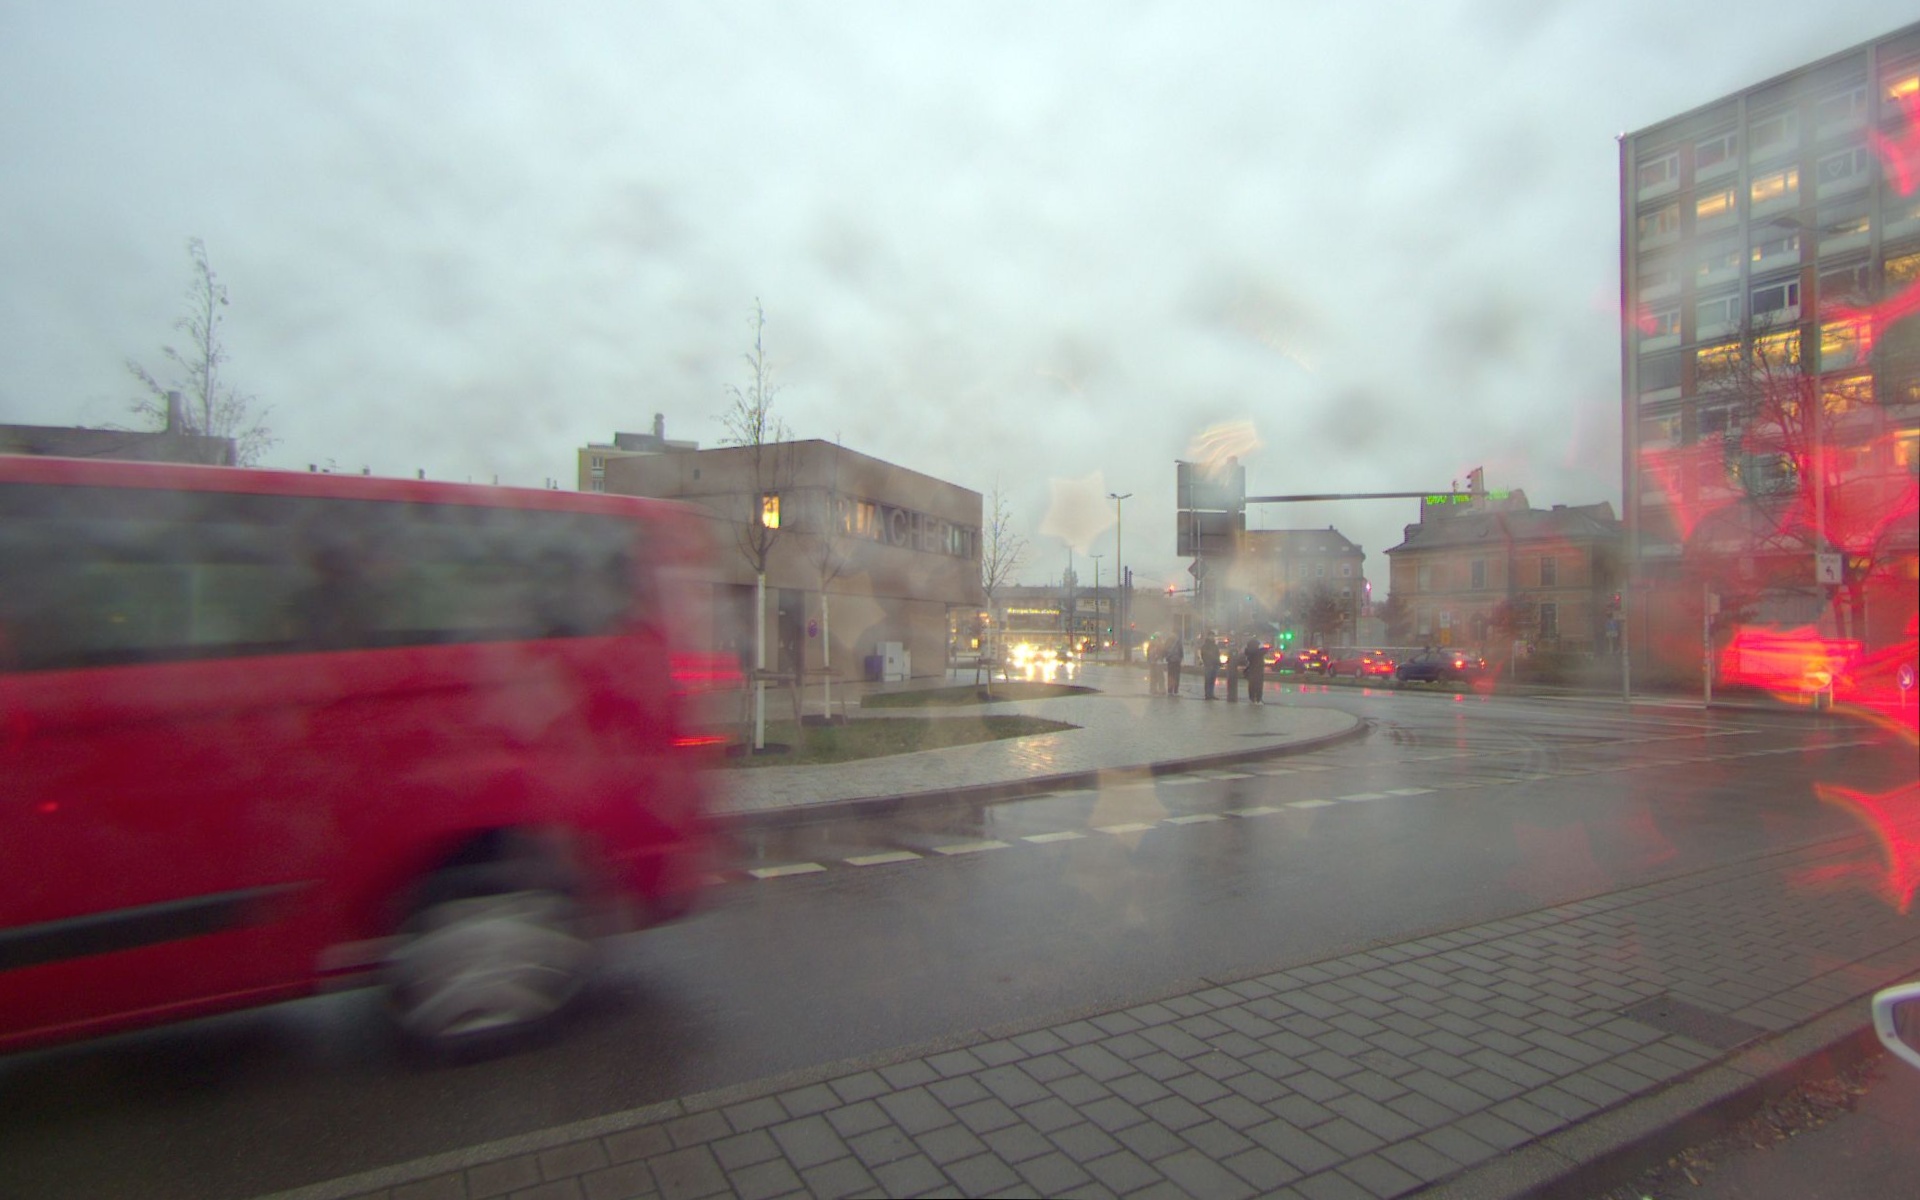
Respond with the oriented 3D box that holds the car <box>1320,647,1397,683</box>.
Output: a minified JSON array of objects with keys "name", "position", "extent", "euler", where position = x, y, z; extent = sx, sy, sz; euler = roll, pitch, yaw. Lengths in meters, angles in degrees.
[{"name":"car","position":[20.494,3.308,51.821],"extent":[1.795,1.589,3.991],"euler":[2,0,-11]}]

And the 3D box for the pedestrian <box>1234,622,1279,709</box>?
[{"name":"pedestrian","position":[7.198,1.578,24.387],"extent":[0.971,2.047,0.802],"euler":[-1,-2,19]}]

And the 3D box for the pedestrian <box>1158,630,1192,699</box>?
[{"name":"pedestrian","position":[5.919,1.760,27.644],"extent":[0.722,1.863,0.675],"euler":[-2,-2,30]}]

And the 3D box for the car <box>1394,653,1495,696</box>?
[{"name":"car","position":[21.569,3.306,44.883],"extent":[1.798,1.589,3.984],"euler":[2,0,-18]}]

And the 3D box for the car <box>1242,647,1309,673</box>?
[{"name":"car","position":[20.087,3.802,63.982],"extent":[3.741,1.502,1.602],"euler":[2,0,-1]}]

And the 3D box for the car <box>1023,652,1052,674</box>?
[{"name":"car","position":[5.702,4.619,74.086],"extent":[1.711,1.467,3.713],"euler":[-1,-2,-2]}]

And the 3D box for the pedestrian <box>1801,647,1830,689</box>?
[{"name":"pedestrian","position":[35.250,2.778,41.403],"extent":[0.626,1.710,0.640],"euler":[0,-2,-13]}]

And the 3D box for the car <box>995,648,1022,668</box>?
[{"name":"car","position":[4.207,5.021,87.343],"extent":[1.901,1.572,4.699],"euler":[1,-3,-3]}]

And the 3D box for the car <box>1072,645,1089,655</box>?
[{"name":"car","position":[18.508,7.662,153.955],"extent":[1.705,1.529,4.000],"euler":[-1,-2,20]}]

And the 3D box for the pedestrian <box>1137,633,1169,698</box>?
[{"name":"pedestrian","position":[5.431,1.828,28.245],"extent":[0.730,1.793,0.547],"euler":[-2,-2,33]}]

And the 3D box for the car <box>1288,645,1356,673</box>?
[{"name":"car","position":[20.900,3.405,58.081],"extent":[3.364,1.481,1.515],"euler":[2,0,-1]}]

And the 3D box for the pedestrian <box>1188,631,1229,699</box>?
[{"name":"pedestrian","position":[6.586,1.705,26.632],"extent":[0.838,1.778,0.659],"euler":[0,-2,-14]}]

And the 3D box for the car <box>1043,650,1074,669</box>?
[{"name":"car","position":[8.155,4.948,83.688],"extent":[1.776,1.496,4.591],"euler":[1,-3,-4]}]

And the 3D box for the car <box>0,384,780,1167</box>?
[{"name":"car","position":[-3.131,0.503,3.481],"extent":[4.597,2.097,1.912],"euler":[1,-3,-35]}]

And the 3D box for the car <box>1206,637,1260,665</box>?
[{"name":"car","position":[19.619,3.650,72.357],"extent":[3.514,1.850,1.672],"euler":[2,0,8]}]
